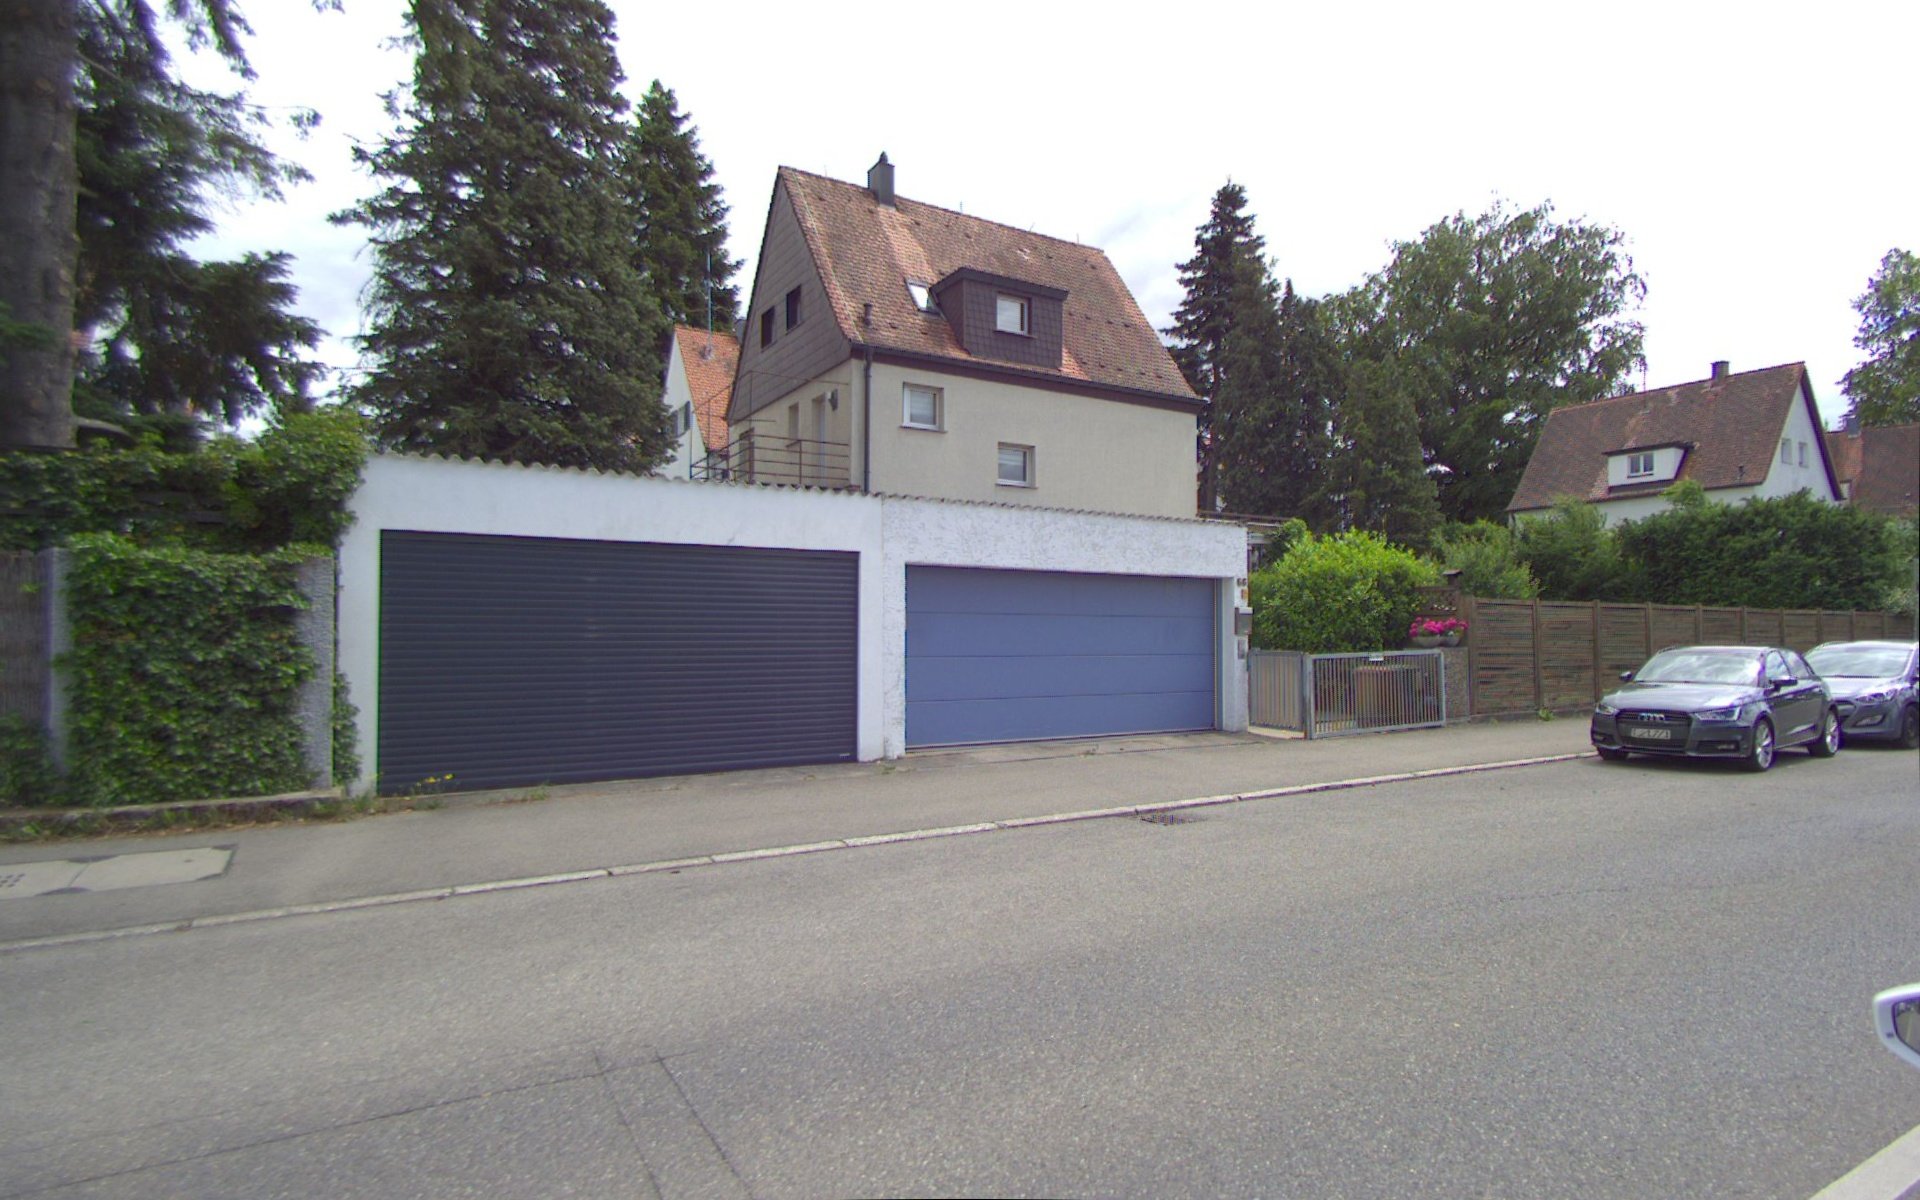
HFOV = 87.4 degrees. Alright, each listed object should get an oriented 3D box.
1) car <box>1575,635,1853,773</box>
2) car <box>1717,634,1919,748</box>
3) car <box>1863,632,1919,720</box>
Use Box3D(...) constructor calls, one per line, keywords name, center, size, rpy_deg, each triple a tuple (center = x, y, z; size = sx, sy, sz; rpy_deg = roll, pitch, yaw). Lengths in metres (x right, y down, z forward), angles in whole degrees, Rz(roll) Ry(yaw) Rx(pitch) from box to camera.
Box3D(name="car", center=(9.576, 1.205, 12.689), size=(3.866, 1.445, 1.641), rpy_deg=(0, -3, -35))
Box3D(name="car", center=(13.518, 1.249, 15.029), size=(4.434, 1.478, 1.859), rpy_deg=(1, -2, -29))
Box3D(name="car", center=(18.457, 1.309, 17.950), size=(4.589, 1.498, 1.986), rpy_deg=(1, -3, -28))
